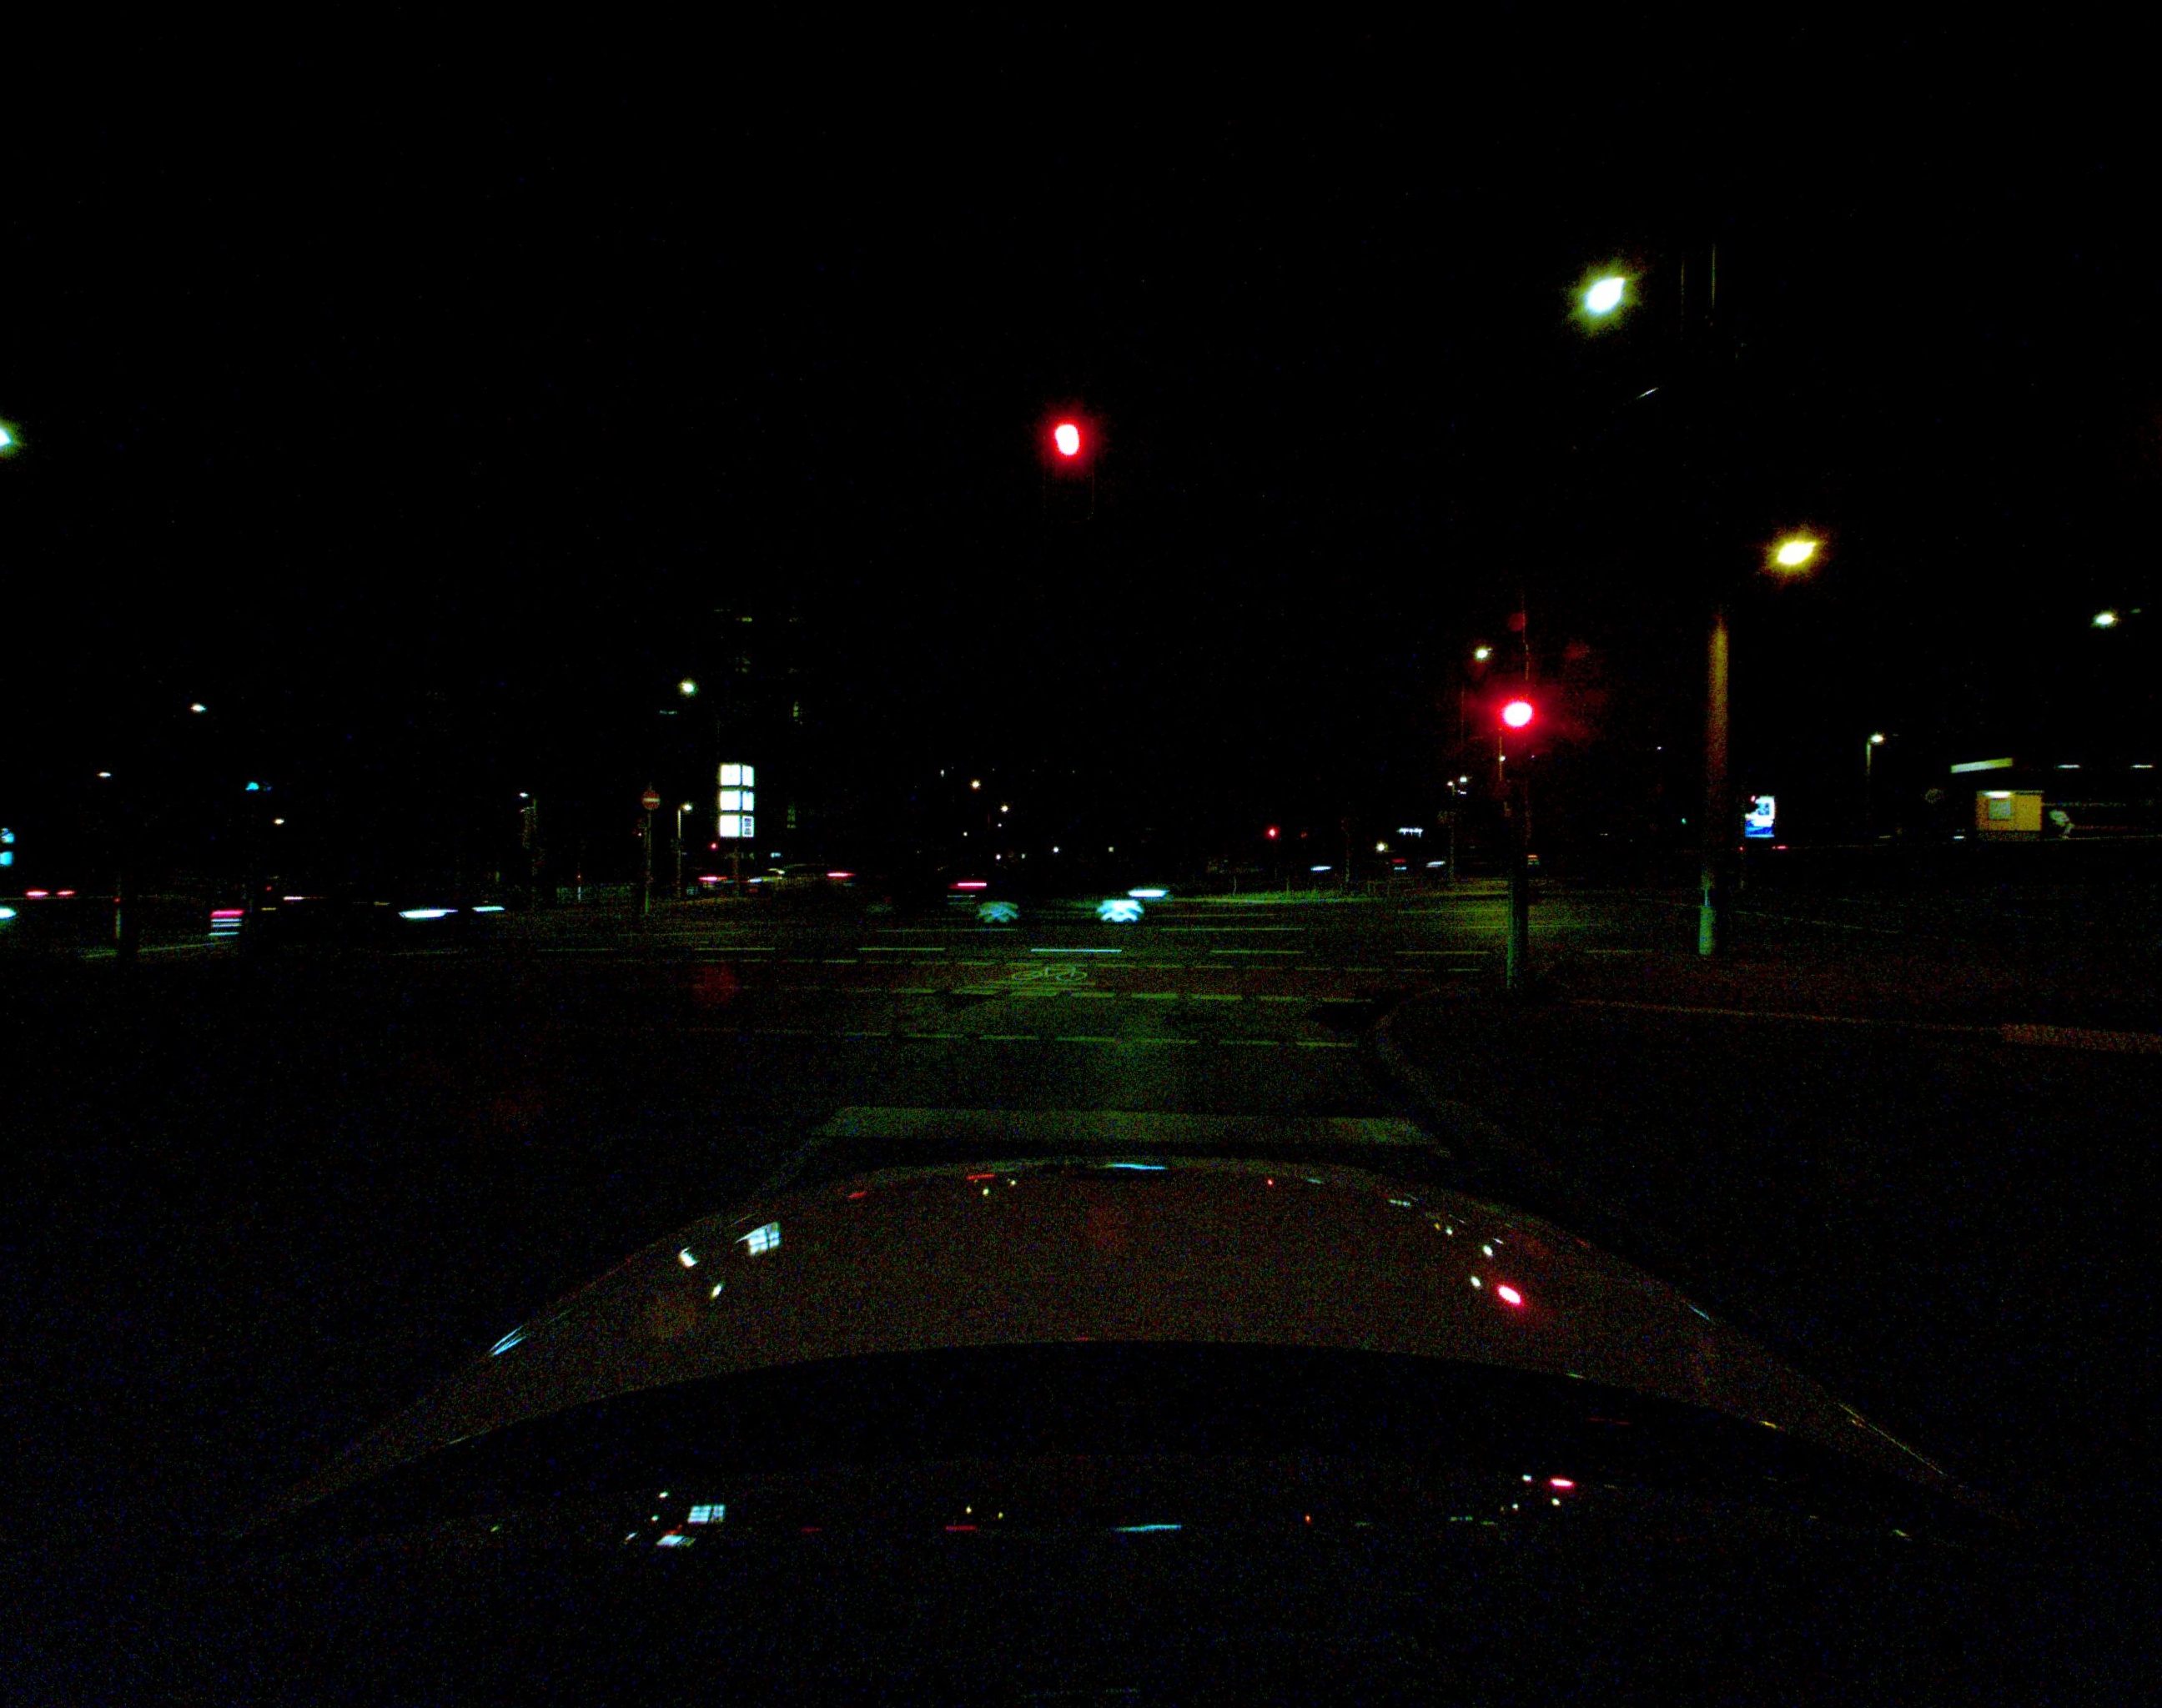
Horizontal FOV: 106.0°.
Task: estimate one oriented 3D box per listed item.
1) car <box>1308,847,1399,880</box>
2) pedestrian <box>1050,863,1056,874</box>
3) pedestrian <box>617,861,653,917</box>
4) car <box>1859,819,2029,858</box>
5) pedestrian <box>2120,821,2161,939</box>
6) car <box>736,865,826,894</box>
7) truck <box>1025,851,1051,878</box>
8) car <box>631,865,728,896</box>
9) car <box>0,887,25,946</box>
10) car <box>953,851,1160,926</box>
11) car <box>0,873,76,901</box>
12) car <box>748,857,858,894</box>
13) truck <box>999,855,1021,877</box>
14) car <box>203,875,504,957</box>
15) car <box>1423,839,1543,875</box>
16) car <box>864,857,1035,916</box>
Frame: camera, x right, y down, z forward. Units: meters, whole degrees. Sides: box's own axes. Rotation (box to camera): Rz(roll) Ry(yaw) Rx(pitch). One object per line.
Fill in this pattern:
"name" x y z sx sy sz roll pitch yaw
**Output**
"car" 13.094 0.447 39.291 3.852 1.405 1.771 -2 -1 5
"pedestrian" -5.107 2.640 147.909 0.851 1.912 1.001 0 -1 -16
"pedestrian" -14.032 1.093 25.612 0.670 1.722 0.710 -1 -2 27
"car" 36.213 -0.621 34.295 4.917 1.420 1.854 -2 -1 5
"pedestrian" 15.803 0.342 11.646 0.870 1.656 0.843 -7 -5 42
"car" -16.643 1.410 45.300 4.215 1.585 1.889 0 -1 4
"truck" -7.980 1.941 149.263 3.366 4.843 7.865 0 -1 -14
"car" -20.986 1.397 42.684 4.212 1.585 1.806 0 -1 6
"car" -32.178 1.829 22.168 4.897 1.598 1.747 -2 0 5
"car" -0.480 0.778 18.948 4.549 1.419 1.748 -2 2 5
"car" -60.350 1.872 46.411 4.041 1.424 1.846 -1 1 5
"car" -13.220 1.008 38.866 4.551 1.585 1.848 -2 1 3
"truck" -10.495 1.763 119.885 2.419 3.089 6.412 0 -1 -11
"car" -15.105 1.264 17.044 4.897 1.473 1.747 -1 0 5
"car" 17.724 0.146 36.069 4.406 1.420 1.854 -2 -1 5
"car" -3.530 0.865 22.201 4.224 1.420 1.750 -1 2 9
